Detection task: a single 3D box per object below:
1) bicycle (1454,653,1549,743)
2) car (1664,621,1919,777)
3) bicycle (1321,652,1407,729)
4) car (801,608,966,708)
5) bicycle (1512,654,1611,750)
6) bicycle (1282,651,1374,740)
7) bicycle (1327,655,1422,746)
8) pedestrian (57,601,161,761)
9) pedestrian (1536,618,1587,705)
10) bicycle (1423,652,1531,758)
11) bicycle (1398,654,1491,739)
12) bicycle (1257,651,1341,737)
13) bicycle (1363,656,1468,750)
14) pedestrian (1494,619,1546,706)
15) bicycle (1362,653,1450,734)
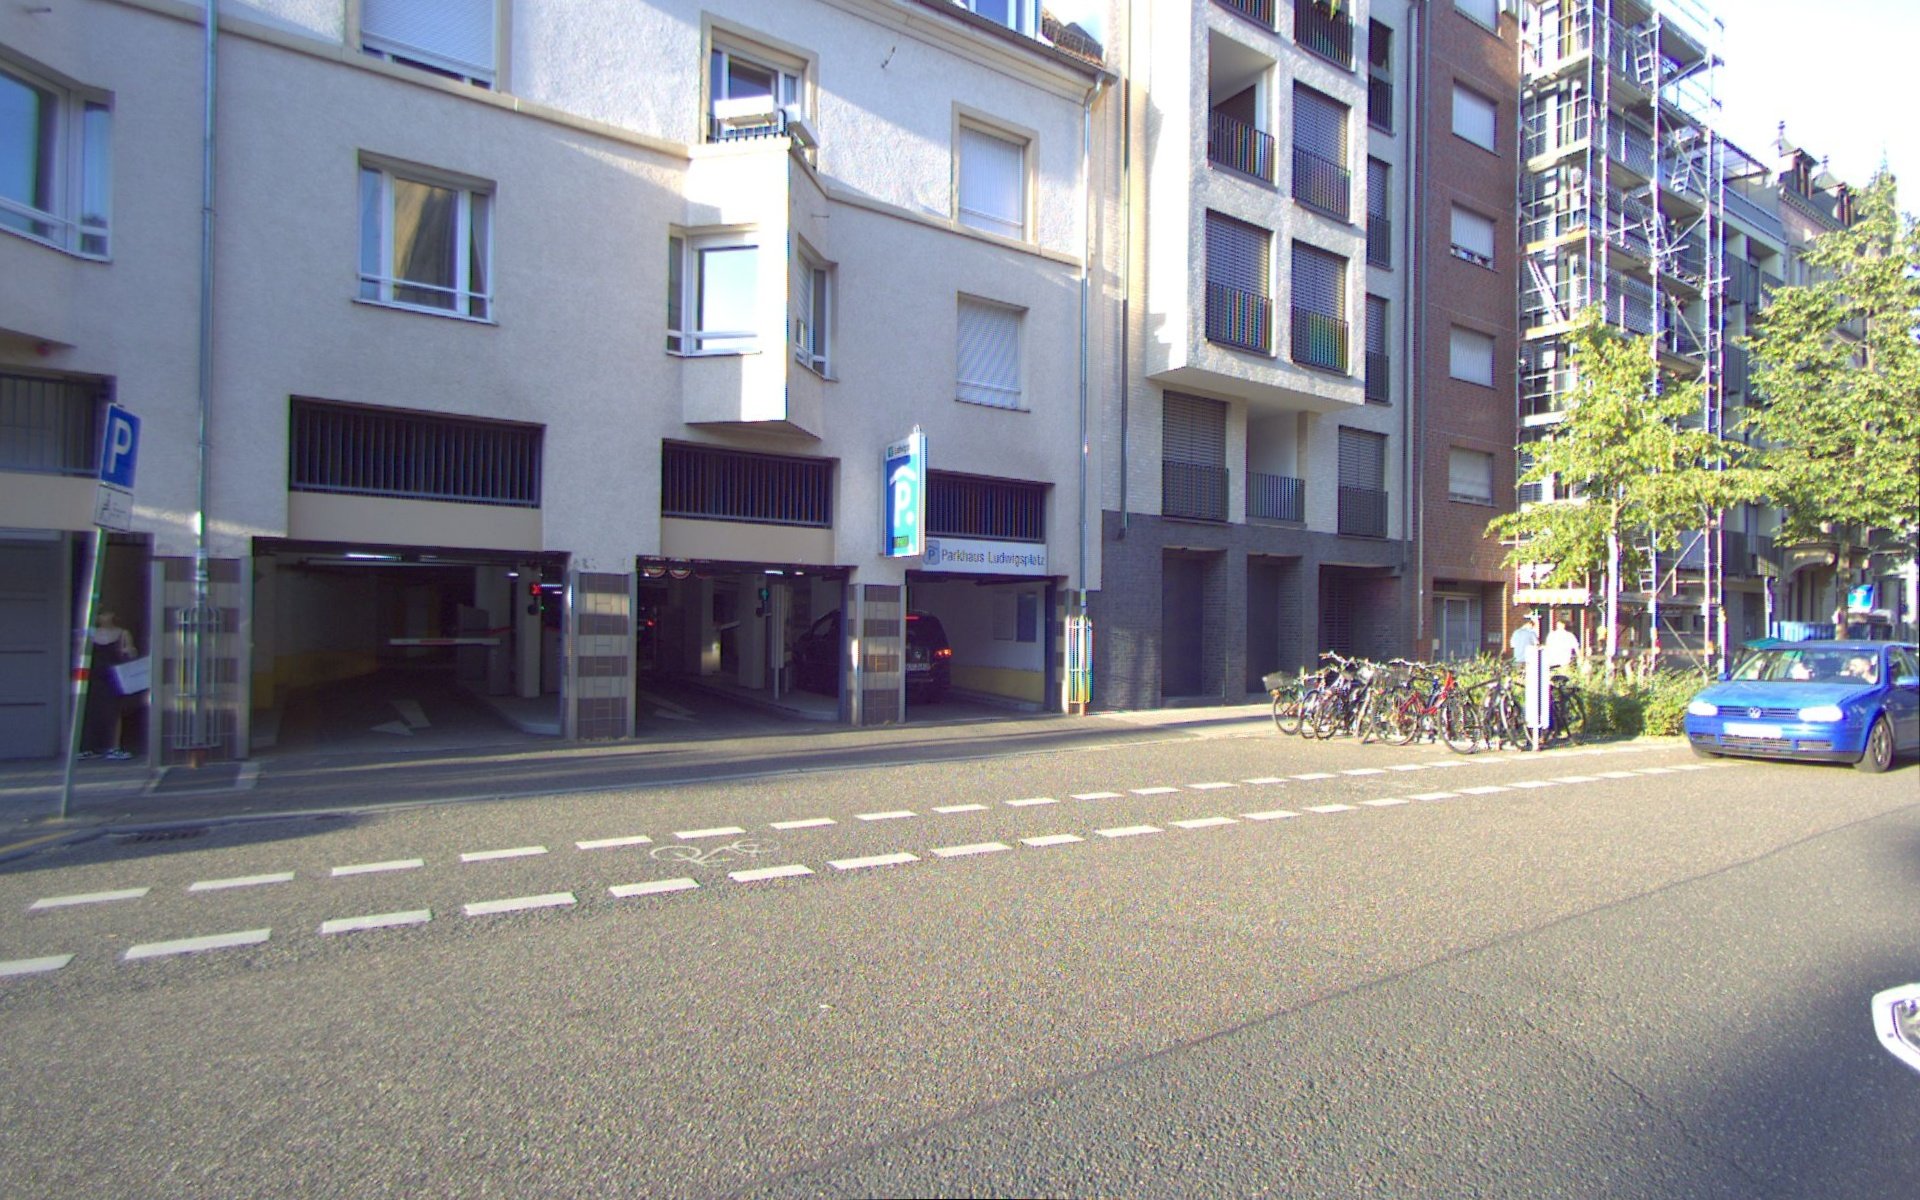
[{"bbox_3d":[7.583,1.347,14.050,1.535,1.178,0.484,2,-1,-33],"label":"bicycle"},{"bbox_3d":[10.366,1.089,12.000,4.071,1.583,1.680,2,-3,-31],"label":"car"},{"bbox_3d":[6.377,1.401,15.835,1.535,1.147,0.454,2,-1,-33],"label":"bicycle"},{"bbox_3d":[-1.540,0.996,18.821,1.543,1.639,3.849,1,-1,-30],"label":"car"},{"bbox_3d":[8.017,1.325,13.375,1.535,1.194,0.504,2,-1,-33],"label":"bicycle"},{"bbox_3d":[5.268,1.336,14.338,1.535,1.205,0.384,2,-1,-33],"label":"bicycle"},{"bbox_3d":[5.660,1.343,13.686,1.535,1.175,0.378,2,-1,-33],"label":"bicycle"},{"bbox_3d":[-8.871,0.824,10.491,0.772,1.593,0.527,2,-2,-40],"label":"pedestrian"},{"bbox_3d":[12.757,1.292,21.316,0.650,1.807,0.737,1,-2,-34],"label":"pedestrian"},{"bbox_3d":[6.470,1.276,12.543,1.535,1.237,0.494,2,-1,-33],"label":"bicycle"},{"bbox_3d":[7.065,1.379,14.621,1.535,1.165,0.484,2,-1,-33],"label":"bicycle"},{"bbox_3d":[5.003,1.359,14.807,1.390,1.199,0.385,2,-1,-33],"label":"bicycle"},{"bbox_3d":[6.012,1.336,13.244,1.532,1.172,0.415,1,-1,-28],"label":"bicycle"},{"bbox_3d":[11.915,1.312,21.375,0.649,1.807,0.737,1,-2,-32],"label":"pedestrian"},{"bbox_3d":[6.790,1.403,15.272,1.535,1.159,0.464,2,-1,-33],"label":"bicycle"}]
